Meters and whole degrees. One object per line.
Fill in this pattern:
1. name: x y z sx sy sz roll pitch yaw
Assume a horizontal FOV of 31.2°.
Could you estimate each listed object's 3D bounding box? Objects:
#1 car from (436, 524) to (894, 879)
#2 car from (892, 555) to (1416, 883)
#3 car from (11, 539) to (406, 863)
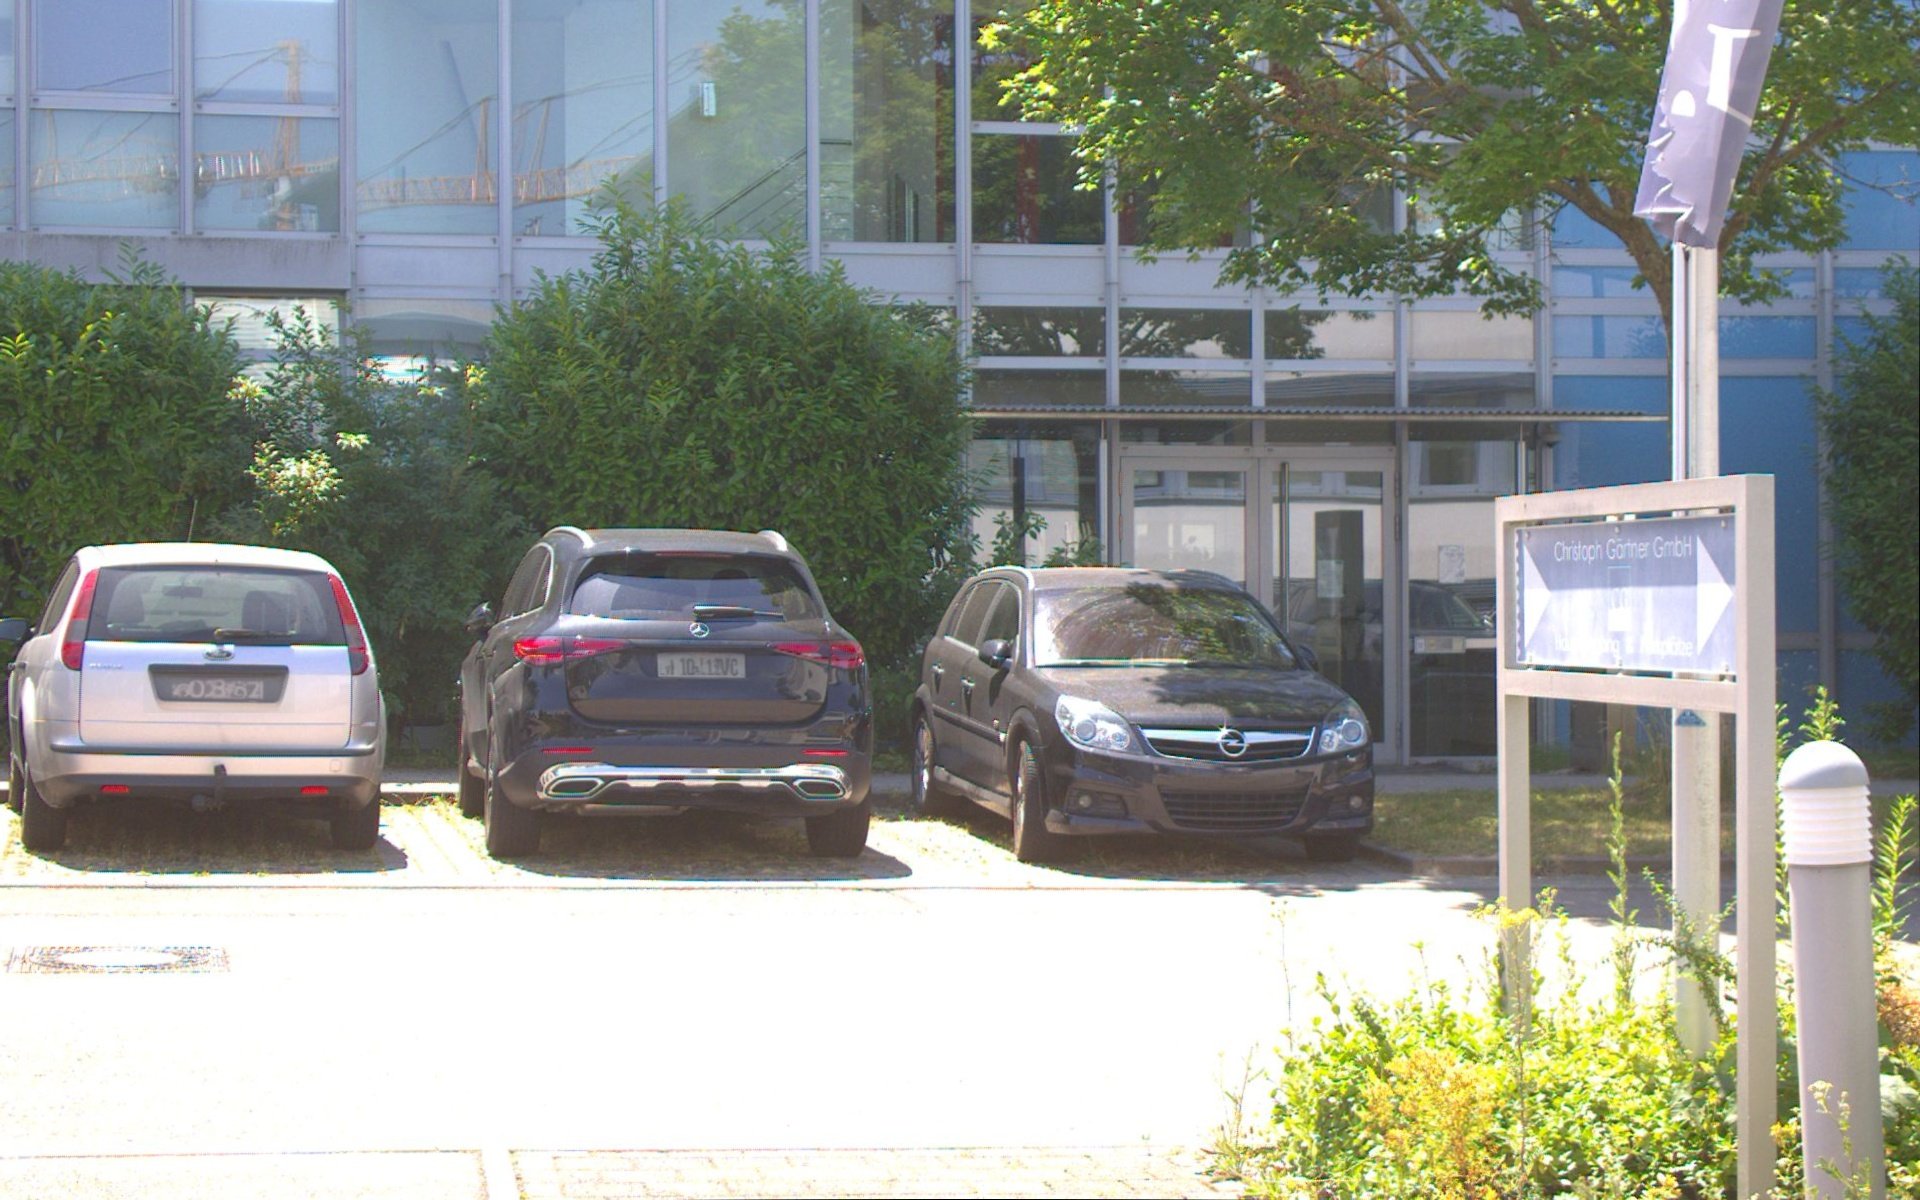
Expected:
1. car: -1.666 0.441 18.048 1.926 1.605 3.988 1 1 -11
2. car: 0.891 0.537 18.390 1.769 1.477 4.260 0 1 -11
3. car: -3.982 0.453 17.809 1.764 1.444 3.655 1 1 -16
